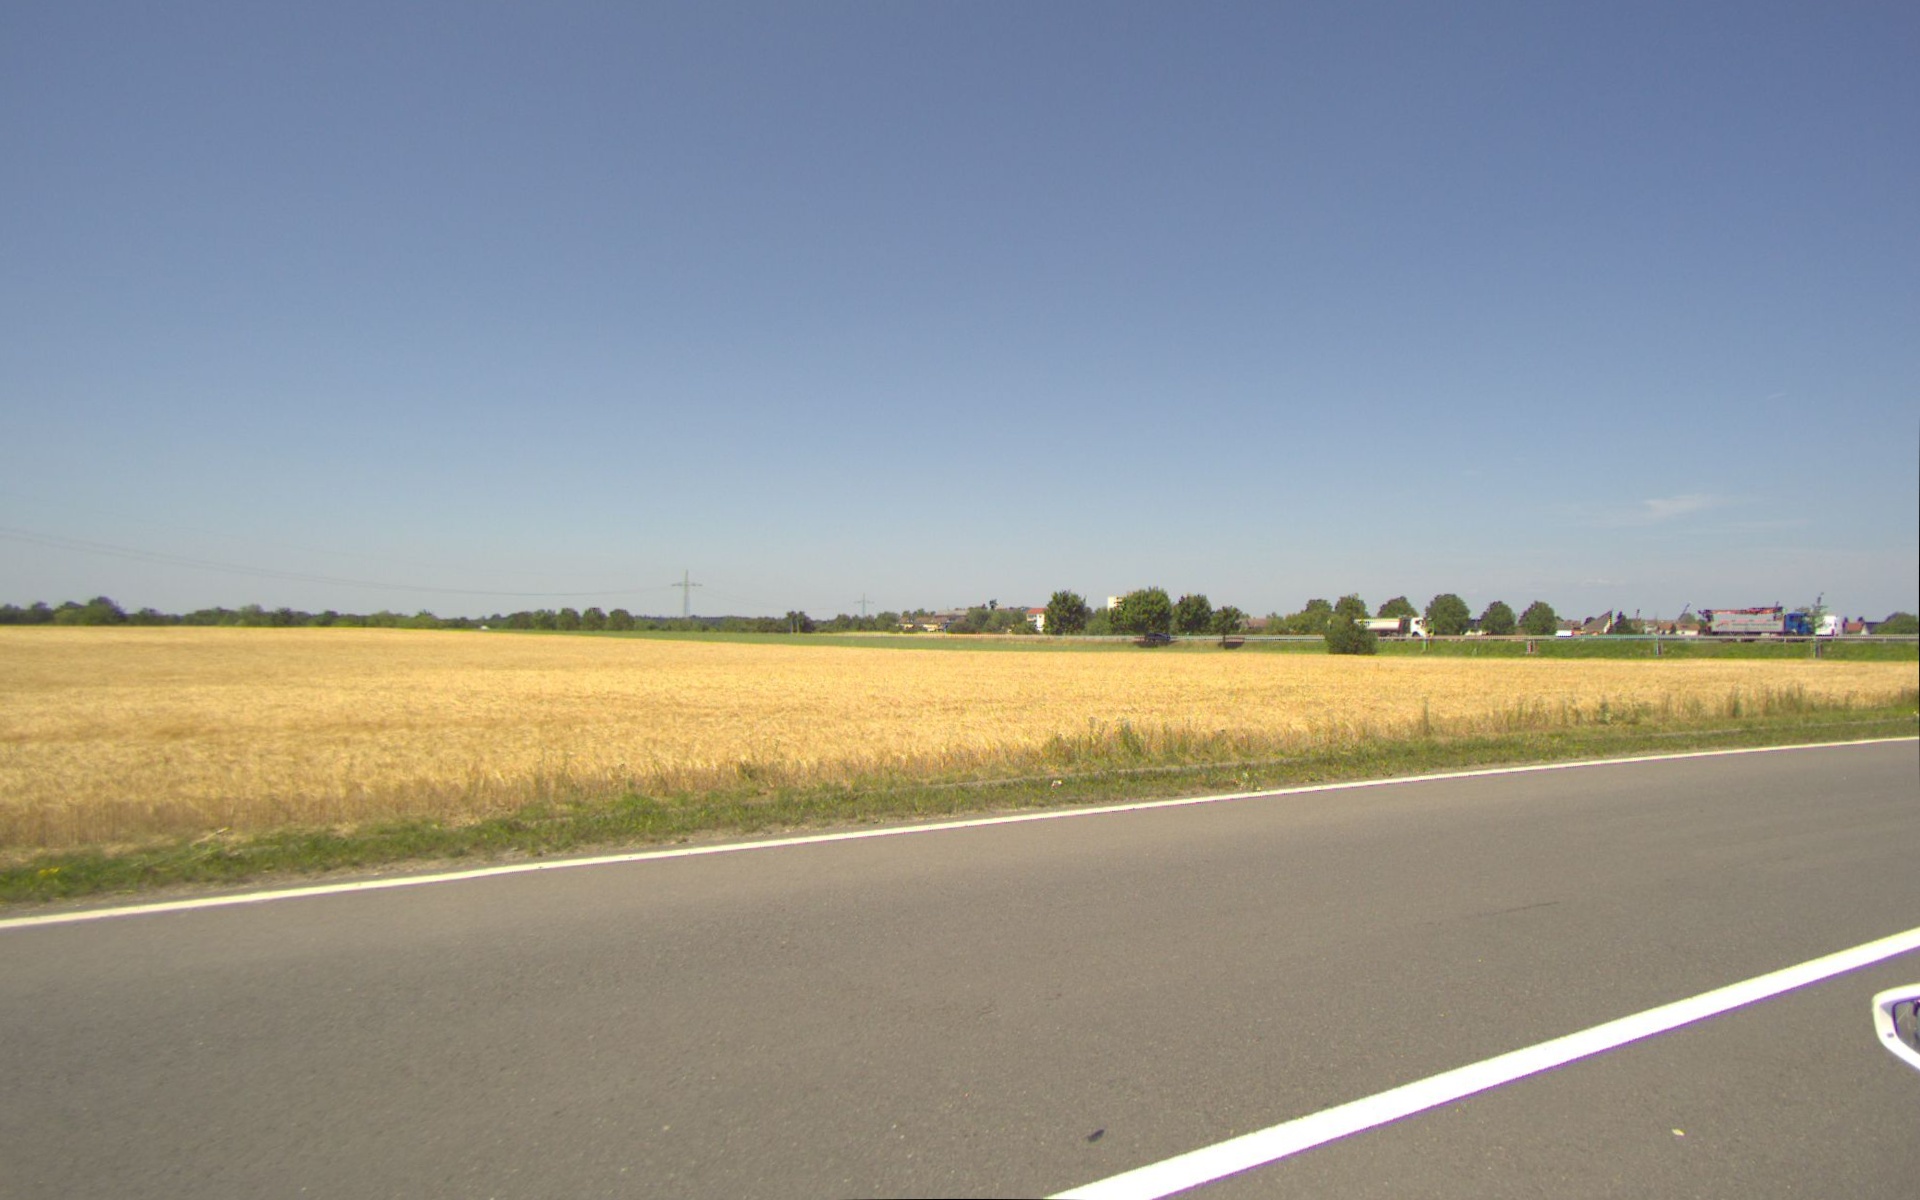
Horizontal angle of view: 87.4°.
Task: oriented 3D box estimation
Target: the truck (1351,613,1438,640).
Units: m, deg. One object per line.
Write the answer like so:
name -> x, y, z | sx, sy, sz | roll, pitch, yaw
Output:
truck -> 62.281, 3.686, 144.397 | 2.952, 3.662, 11.914 | 1, -1, -34

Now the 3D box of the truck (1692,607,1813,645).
truck -> 84.943, 2.726, 107.954 | 2.595, 3.844, 10.031 | 1, -1, -30

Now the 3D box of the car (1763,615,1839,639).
car -> 90.105, 2.904, 107.692 | 2.219, 2.454, 5.894 | 1, -1, -28
